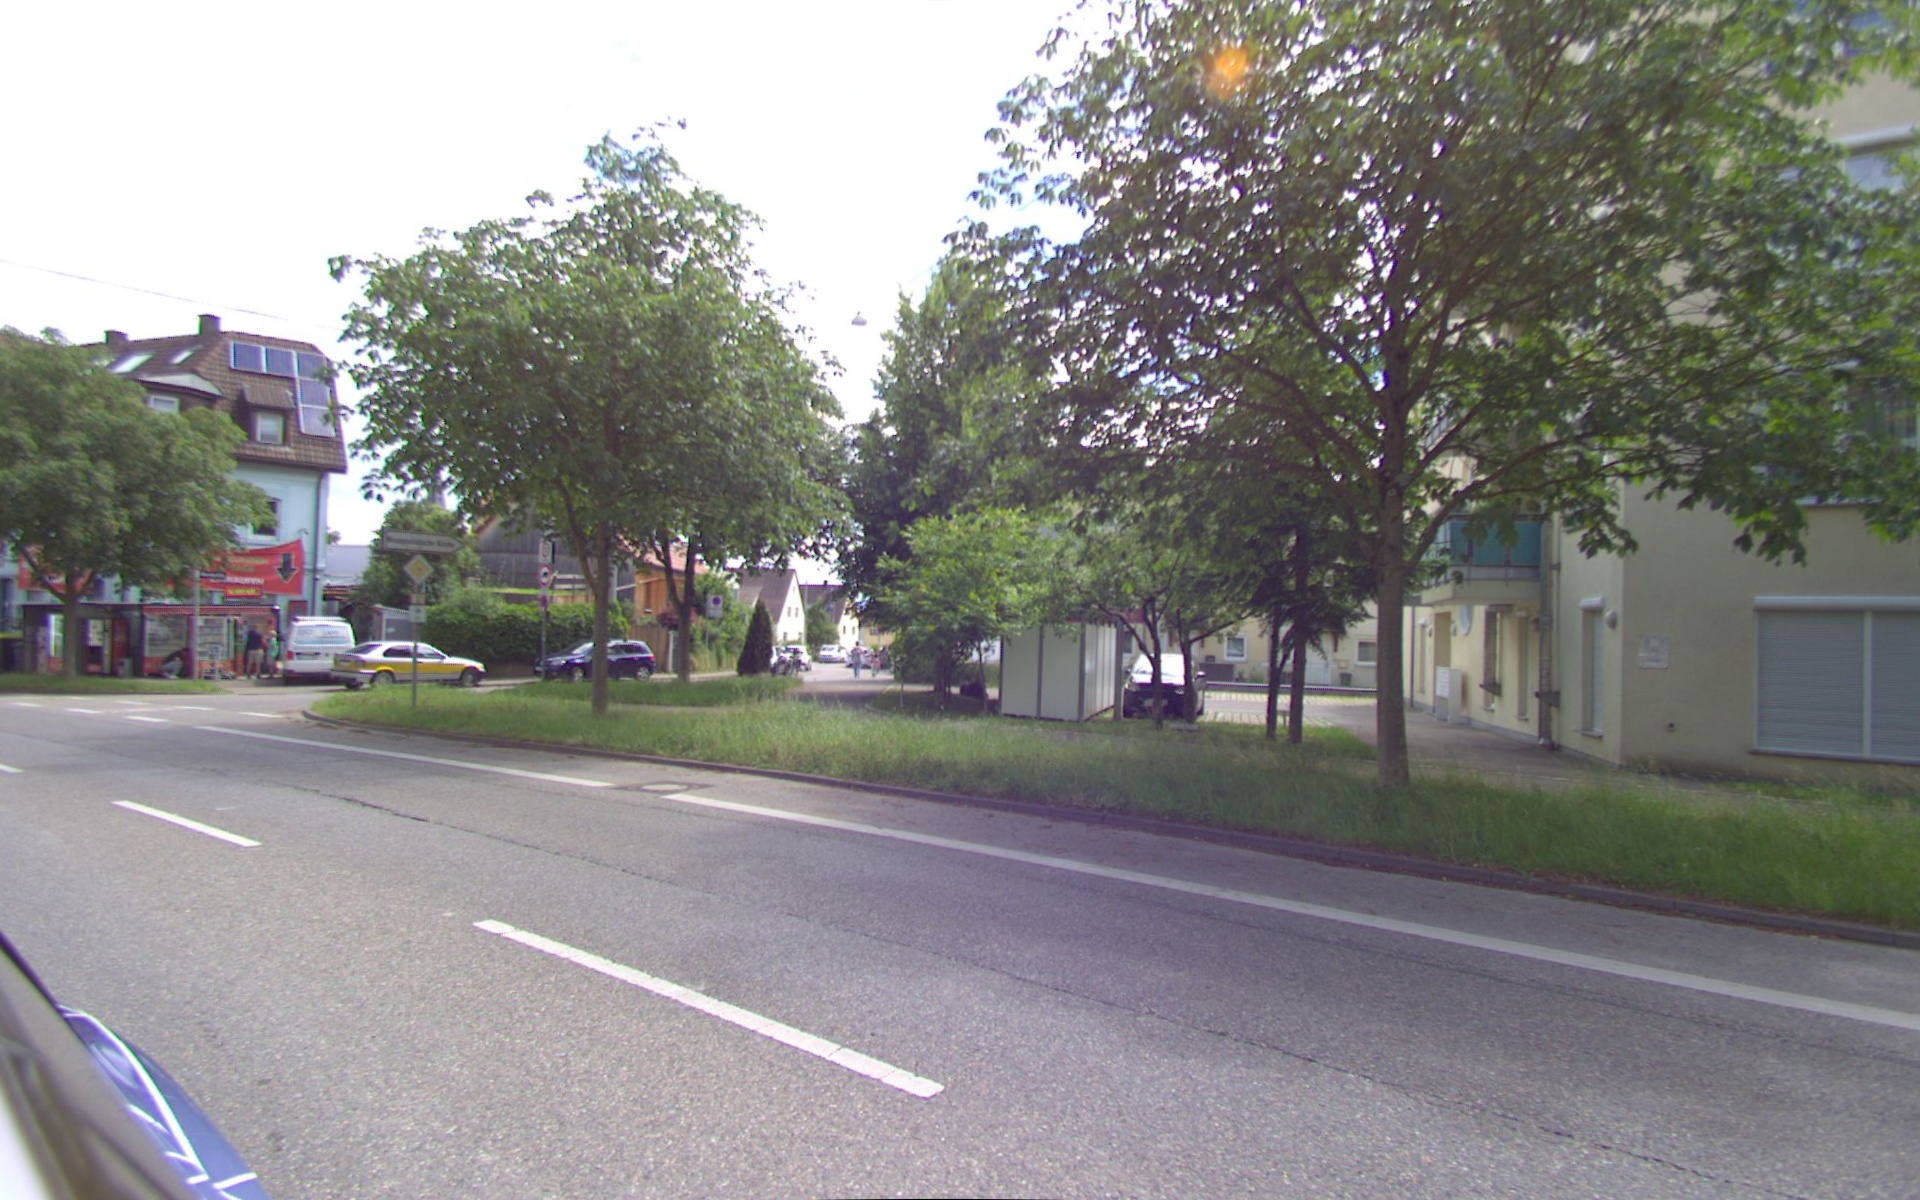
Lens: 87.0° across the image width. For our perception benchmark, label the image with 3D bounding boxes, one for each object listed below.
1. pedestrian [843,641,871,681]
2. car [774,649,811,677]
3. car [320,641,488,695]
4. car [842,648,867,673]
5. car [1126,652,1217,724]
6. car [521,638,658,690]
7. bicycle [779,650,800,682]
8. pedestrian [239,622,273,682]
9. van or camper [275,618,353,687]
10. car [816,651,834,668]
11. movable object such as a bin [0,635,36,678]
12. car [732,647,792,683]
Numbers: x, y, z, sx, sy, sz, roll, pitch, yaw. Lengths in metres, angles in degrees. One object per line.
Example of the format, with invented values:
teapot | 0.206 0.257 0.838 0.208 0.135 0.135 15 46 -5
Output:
pedestrian | -4.274 2.517 41.935 0.811 1.607 0.727 -6 -5 32
car | -9.606 3.598 58.176 1.571 1.332 3.779 2 -1 -2
car | -16.402 1.954 30.029 1.809 1.424 3.988 1 -2 30
car | -7.752 4.455 74.653 1.570 1.570 3.630 2 -1 -3
car | 4.862 1.952 23.013 1.423 1.461 3.371 1 -3 23
car | -12.410 2.100 34.107 1.812 1.560 3.953 2 -1 35
bicycle | -5.263 2.022 31.286 0.457 0.866 2.228 1 -1 -5
pedestrian | -22.628 1.653 32.535 0.558 1.910 0.624 1 -1 7
van or camper | -20.459 1.599 31.963 1.761 2.009 4.390 3 -2 -36
car | -14.069 6.144 105.422 1.570 1.570 3.630 2 -1 -3
movable object such as a bin | -31.761 1.851 33.653 1.236 1.365 1.017 1 -1 17
car | -8.757 2.864 45.110 1.574 1.332 3.771 2 -1 6
